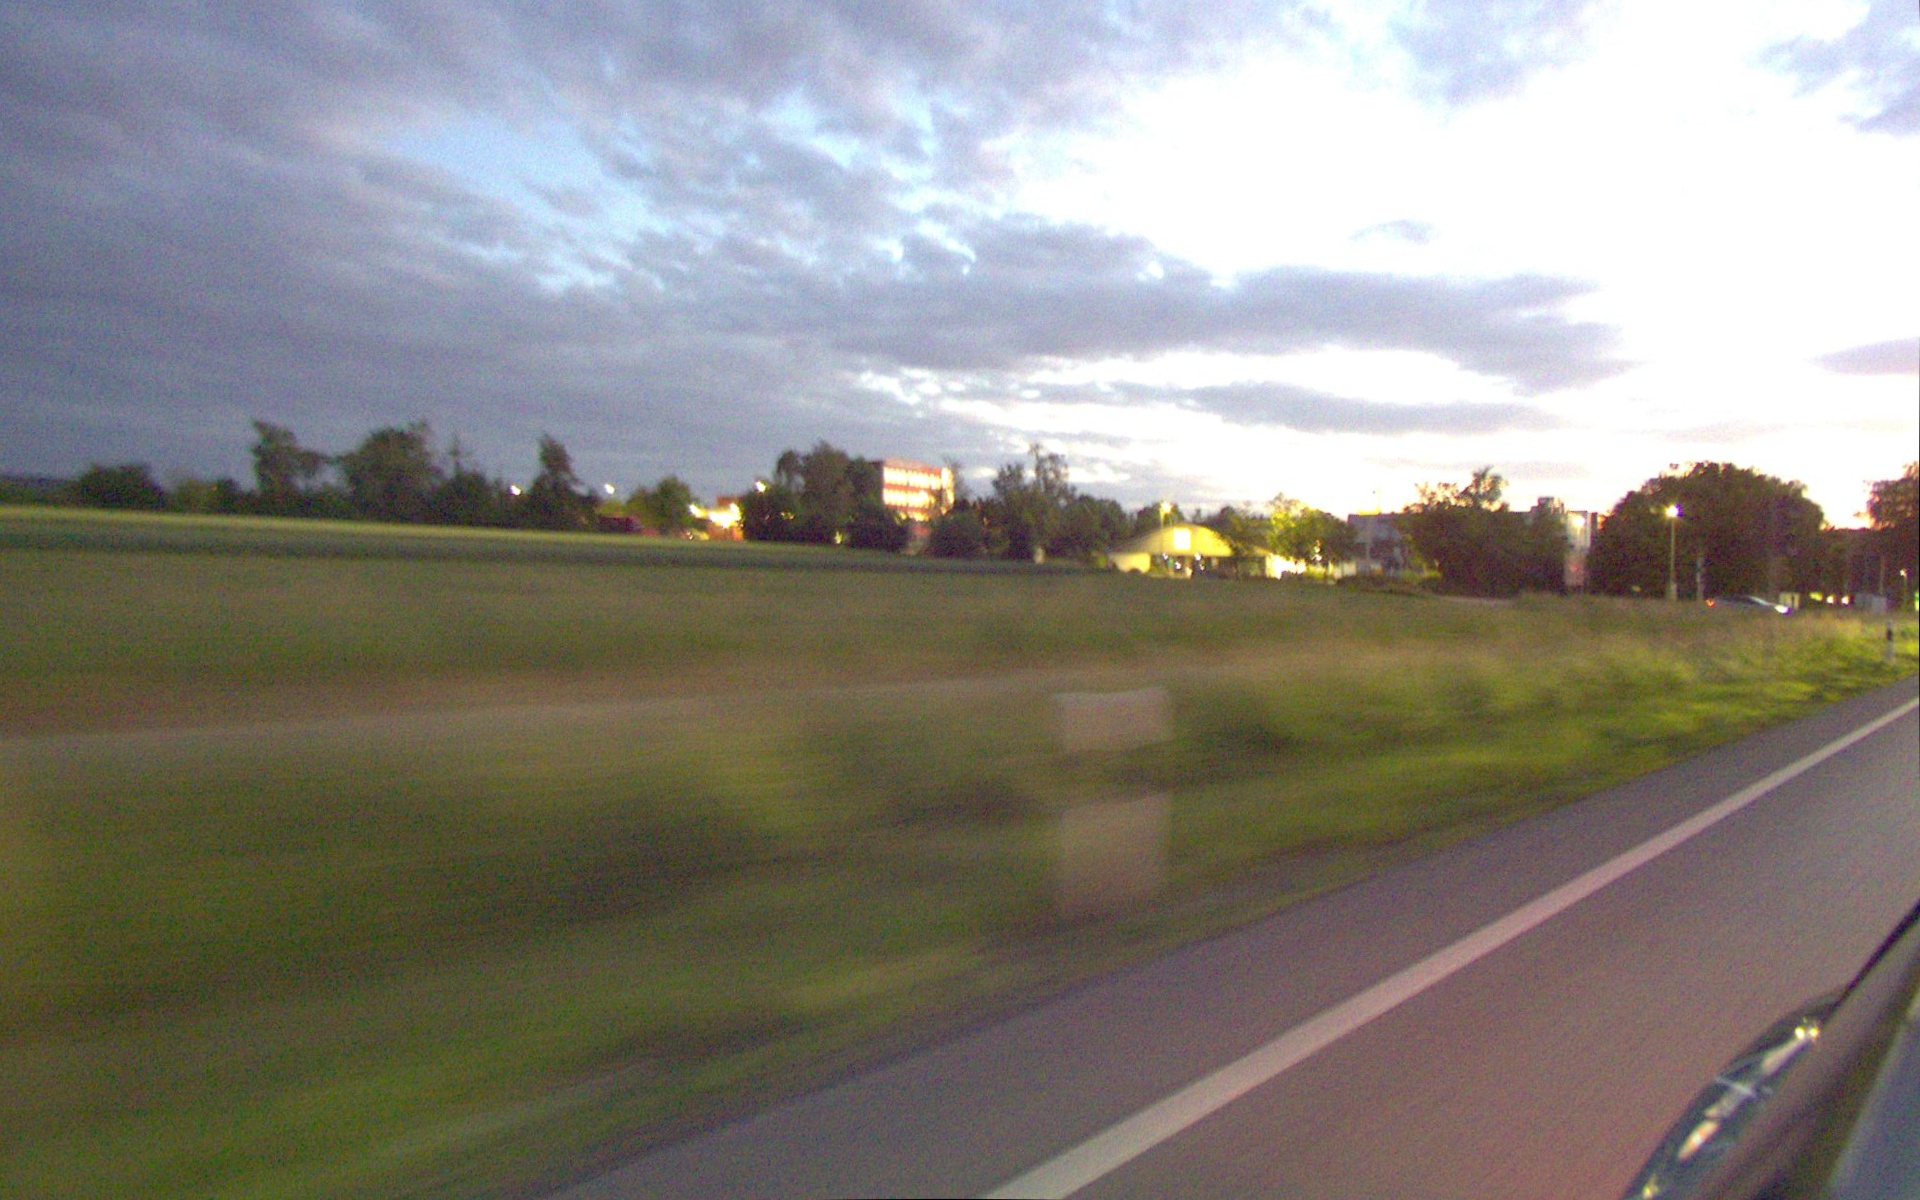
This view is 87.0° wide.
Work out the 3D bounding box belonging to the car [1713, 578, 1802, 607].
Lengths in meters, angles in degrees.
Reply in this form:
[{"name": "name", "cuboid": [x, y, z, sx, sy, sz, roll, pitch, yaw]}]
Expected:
[{"name": "car", "cuboid": [52.784, -0.541, 67.007, 4.462, 1.684, 1.970, 4, 3, 42]}]
